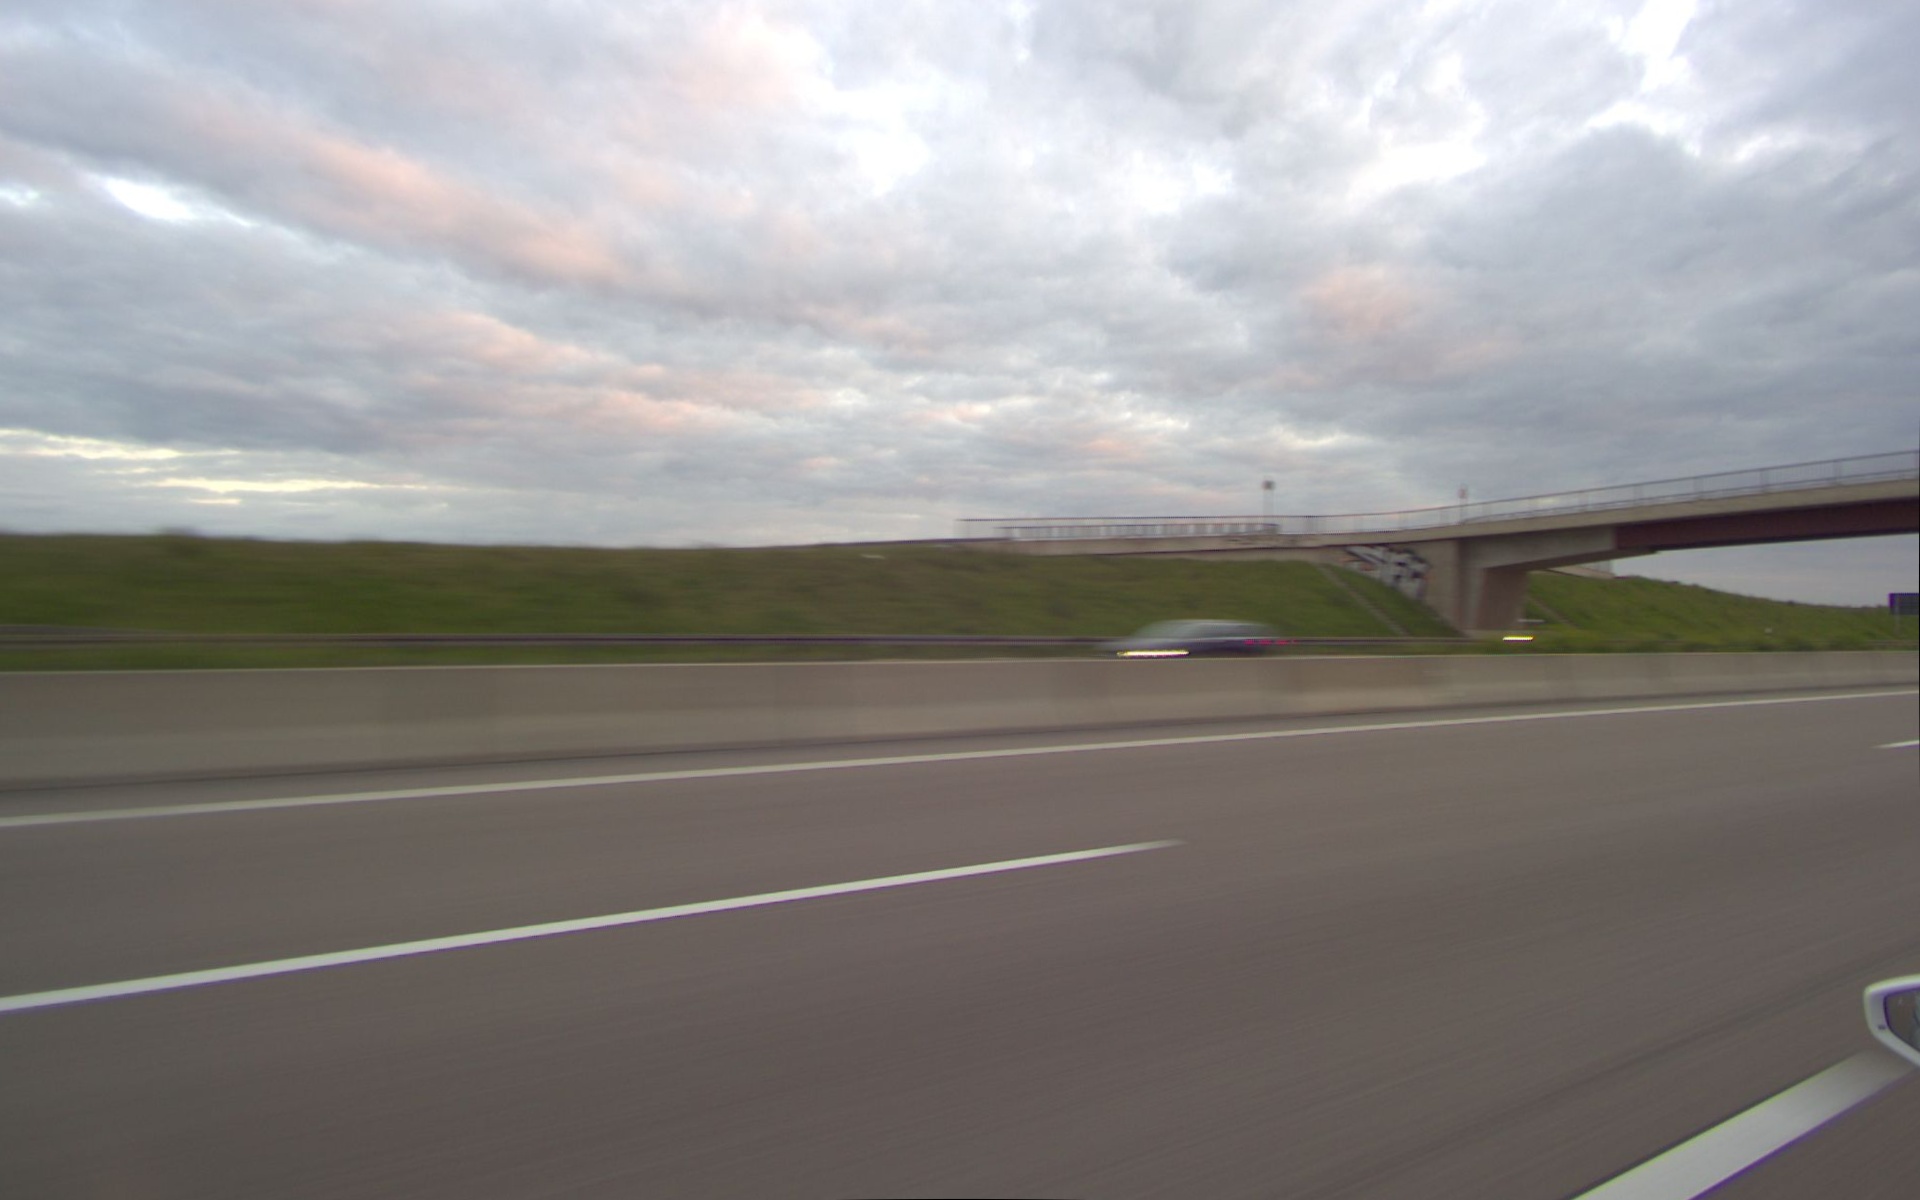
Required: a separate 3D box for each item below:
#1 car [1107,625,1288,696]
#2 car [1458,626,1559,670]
[{"bbox_3d":[5.861,1.450,24.693,4.308,1.573,1.746,1,0,-30],"label":"car"},{"bbox_3d":[21.074,1.823,38.574,3.953,1.578,1.594,1,0,-31],"label":"car"}]
